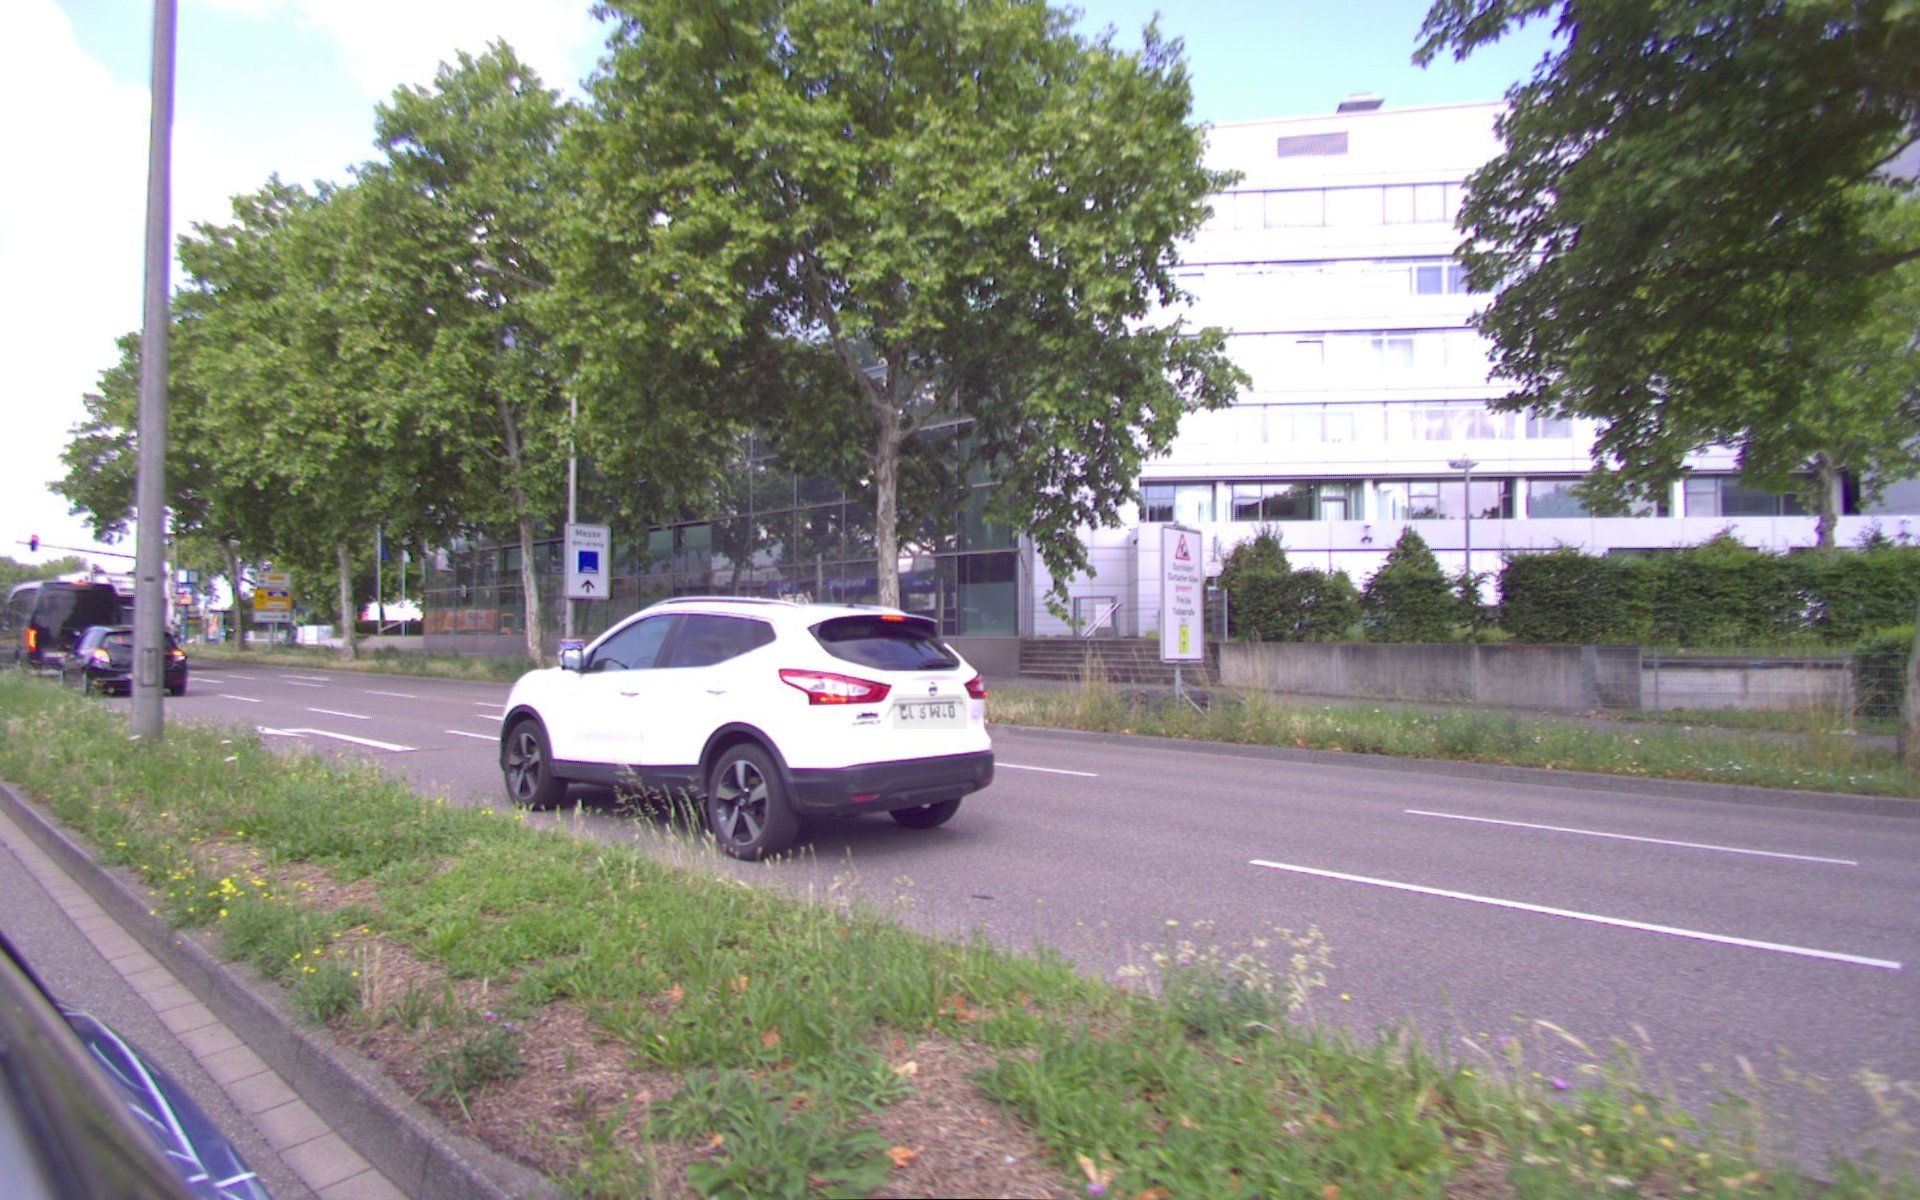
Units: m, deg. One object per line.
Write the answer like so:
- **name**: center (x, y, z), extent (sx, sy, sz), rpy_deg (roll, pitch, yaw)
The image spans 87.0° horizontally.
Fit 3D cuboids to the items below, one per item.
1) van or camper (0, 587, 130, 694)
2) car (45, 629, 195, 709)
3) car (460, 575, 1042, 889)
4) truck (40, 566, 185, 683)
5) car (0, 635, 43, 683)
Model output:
- **van or camper**: center (-25.383, 1.079, 28.199), extent (6.710, 2.680, 2.084), rpy_deg (-1, -3, 39)
- **car**: center (-17.878, 1.405, 21.488), extent (3.937, 1.475, 1.677), rpy_deg (0, -2, 39)
- **car**: center (-1.711, 0.770, 7.419), extent (4.346, 1.652, 1.796), rpy_deg (-1, -4, 39)
- **truck**: center (-32.372, 1.009, 38.439), extent (10.156, 3.918, 2.622), rpy_deg (-2, -4, 42)
- **car**: center (-34.426, 2.076, 36.294), extent (4.231, 1.564, 1.726), rpy_deg (-1, -4, 41)
